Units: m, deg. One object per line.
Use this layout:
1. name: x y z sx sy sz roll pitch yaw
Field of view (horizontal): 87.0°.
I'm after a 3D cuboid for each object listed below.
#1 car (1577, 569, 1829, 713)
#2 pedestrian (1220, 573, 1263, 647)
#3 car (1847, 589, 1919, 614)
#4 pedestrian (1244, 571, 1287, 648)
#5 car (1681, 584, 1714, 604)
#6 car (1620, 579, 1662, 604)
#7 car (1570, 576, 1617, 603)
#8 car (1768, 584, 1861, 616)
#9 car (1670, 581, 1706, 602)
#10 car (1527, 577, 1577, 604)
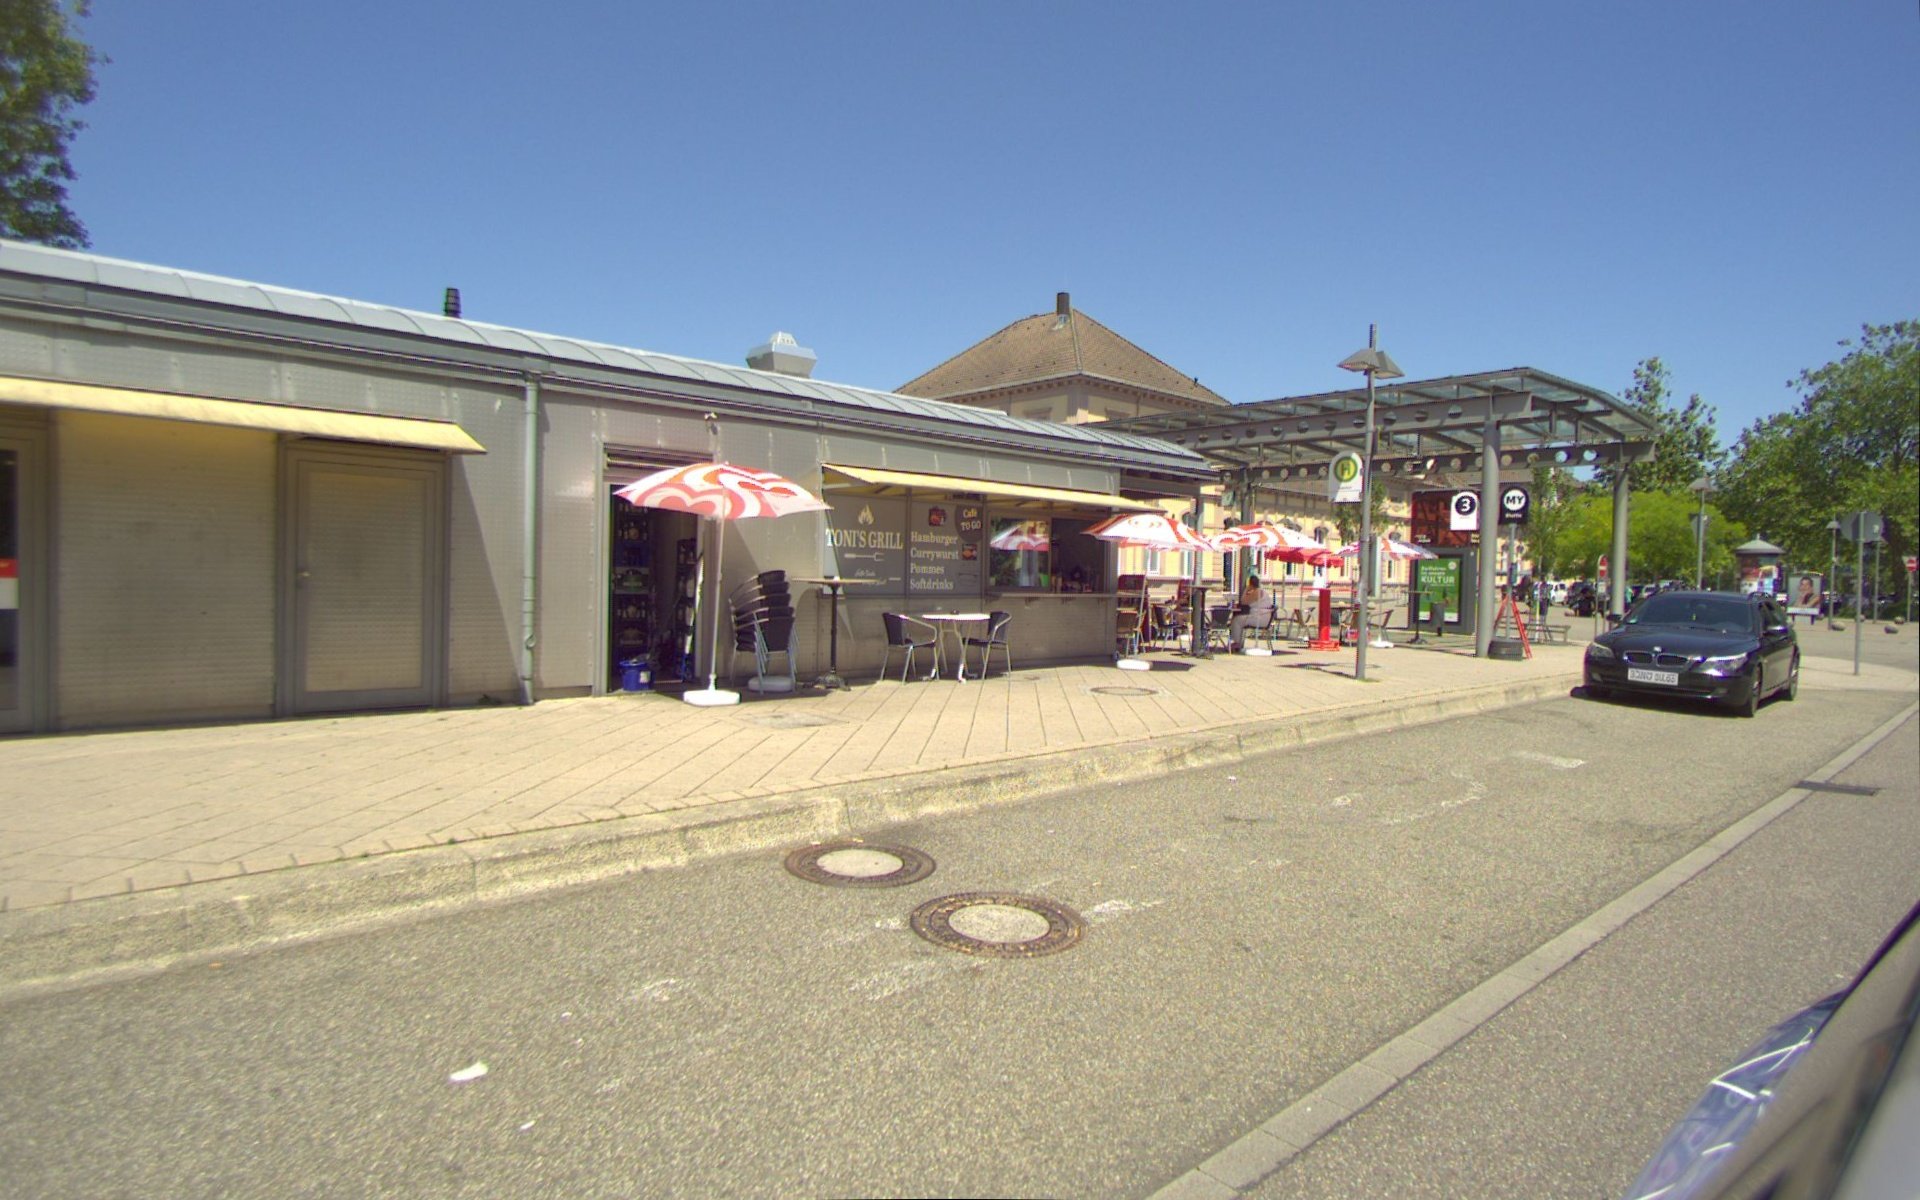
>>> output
1. car: 10.029 0.438 13.551 4.110 1.563 1.778 0 4 -41
2. pedestrian: 4.767 0.162 17.146 0.463 1.226 0.490 0 1 -35
3. car: 67.711 0.099 74.146 3.986 1.685 1.969 3 2 43
4. pedestrian: 5.125 0.150 16.962 0.502 1.247 0.505 2 2 43
5. car: 79.575 -0.628 109.147 3.930 2.038 1.997 0 2 -41
6. car: 59.247 -0.753 88.048 3.930 2.038 1.997 0 2 -41
7. car: 49.672 -0.819 79.320 3.930 2.038 1.997 0 2 -41
8. car: 50.099 -0.031 59.373 1.967 1.685 3.991 0 2 -44
9. car: 72.753 -0.849 101.090 3.930 2.038 1.997 0 2 -41
10. car: 43.585 -0.740 74.474 3.930 1.903 1.997 0 2 -41
